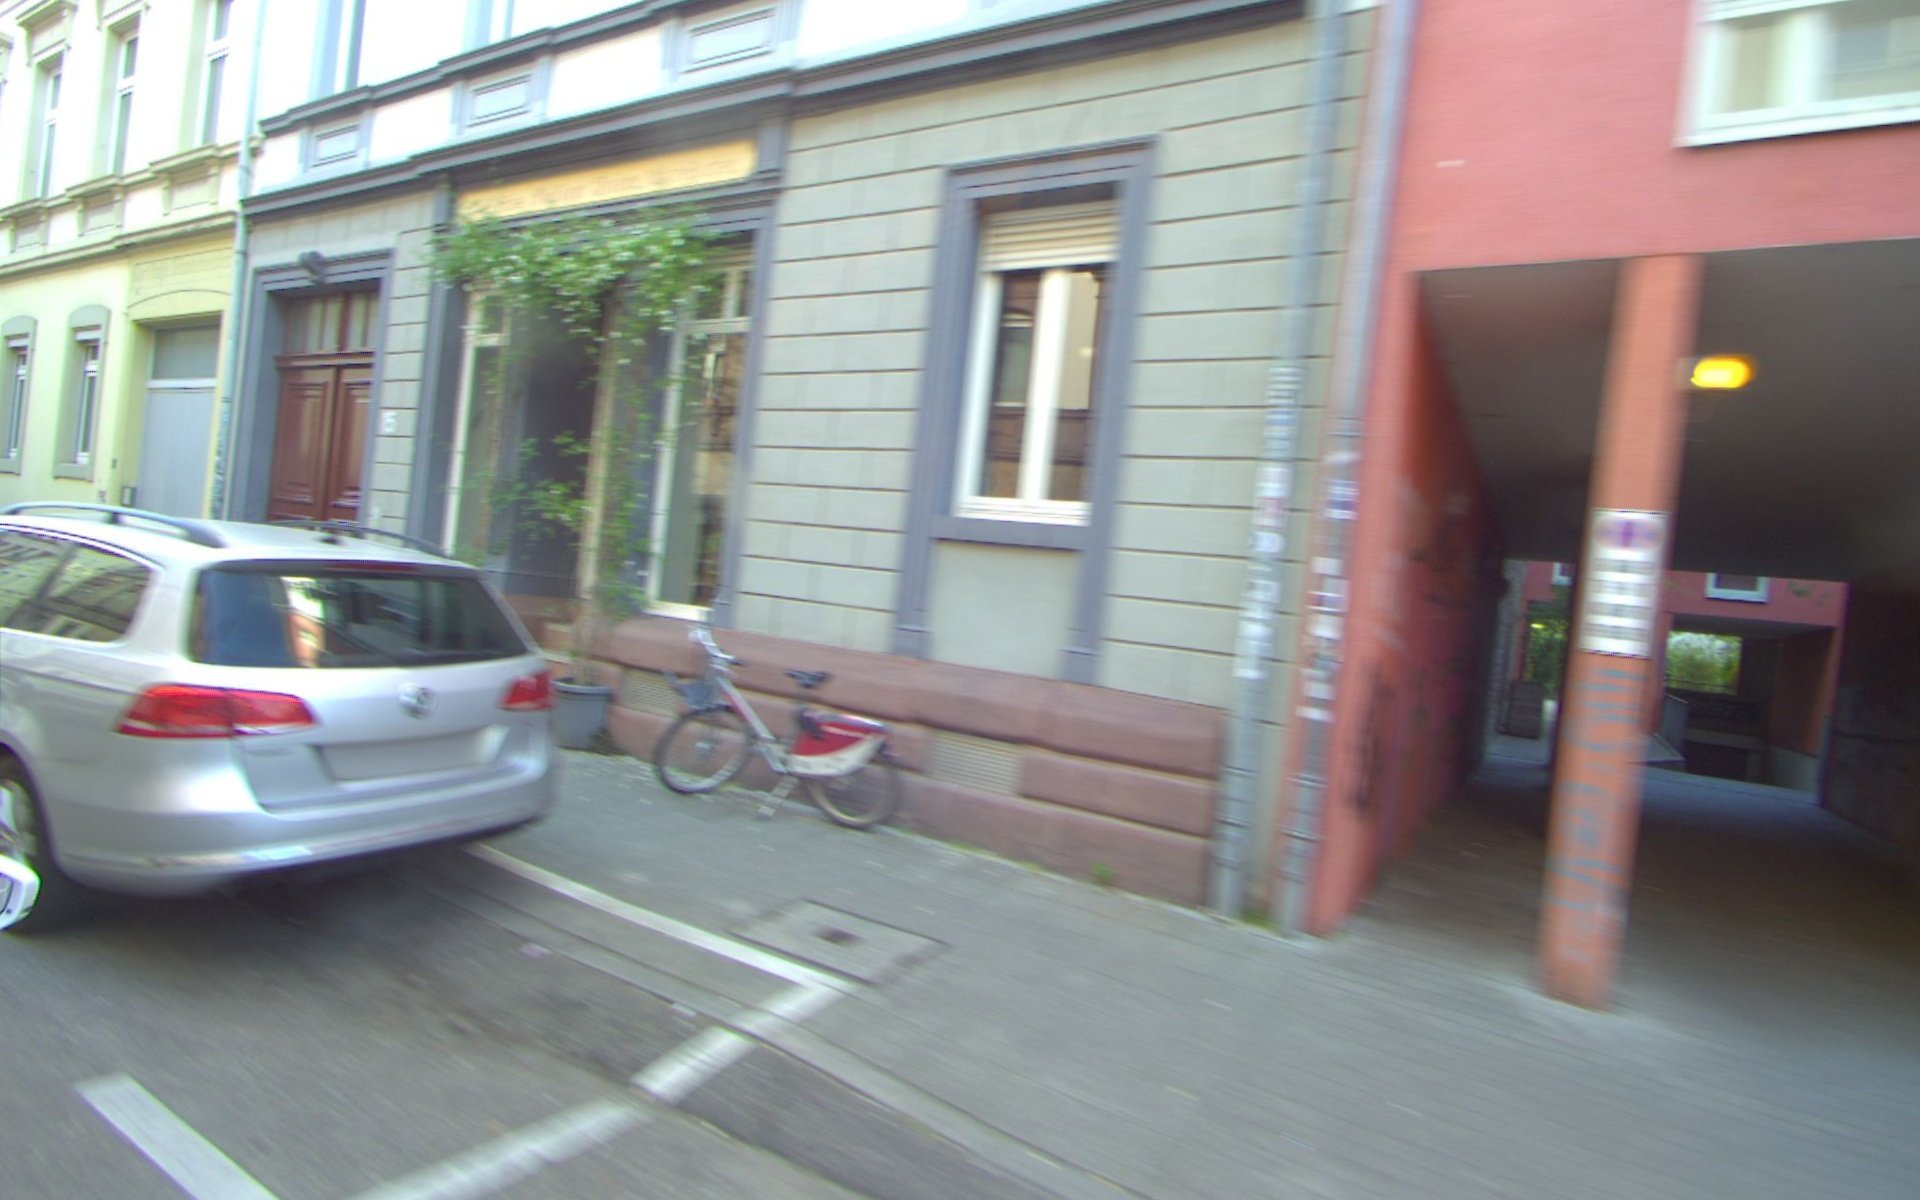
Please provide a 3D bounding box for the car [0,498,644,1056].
[{"bbox_3d":[-3.775,0.359,4.746,4.471,1.474,1.786,7,3,31],"label":"car"}]

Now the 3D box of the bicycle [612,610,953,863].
[{"bbox_3d":[-1.066,0.706,5.865,1.868,1.112,0.710,6,3,29],"label":"bicycle"}]
